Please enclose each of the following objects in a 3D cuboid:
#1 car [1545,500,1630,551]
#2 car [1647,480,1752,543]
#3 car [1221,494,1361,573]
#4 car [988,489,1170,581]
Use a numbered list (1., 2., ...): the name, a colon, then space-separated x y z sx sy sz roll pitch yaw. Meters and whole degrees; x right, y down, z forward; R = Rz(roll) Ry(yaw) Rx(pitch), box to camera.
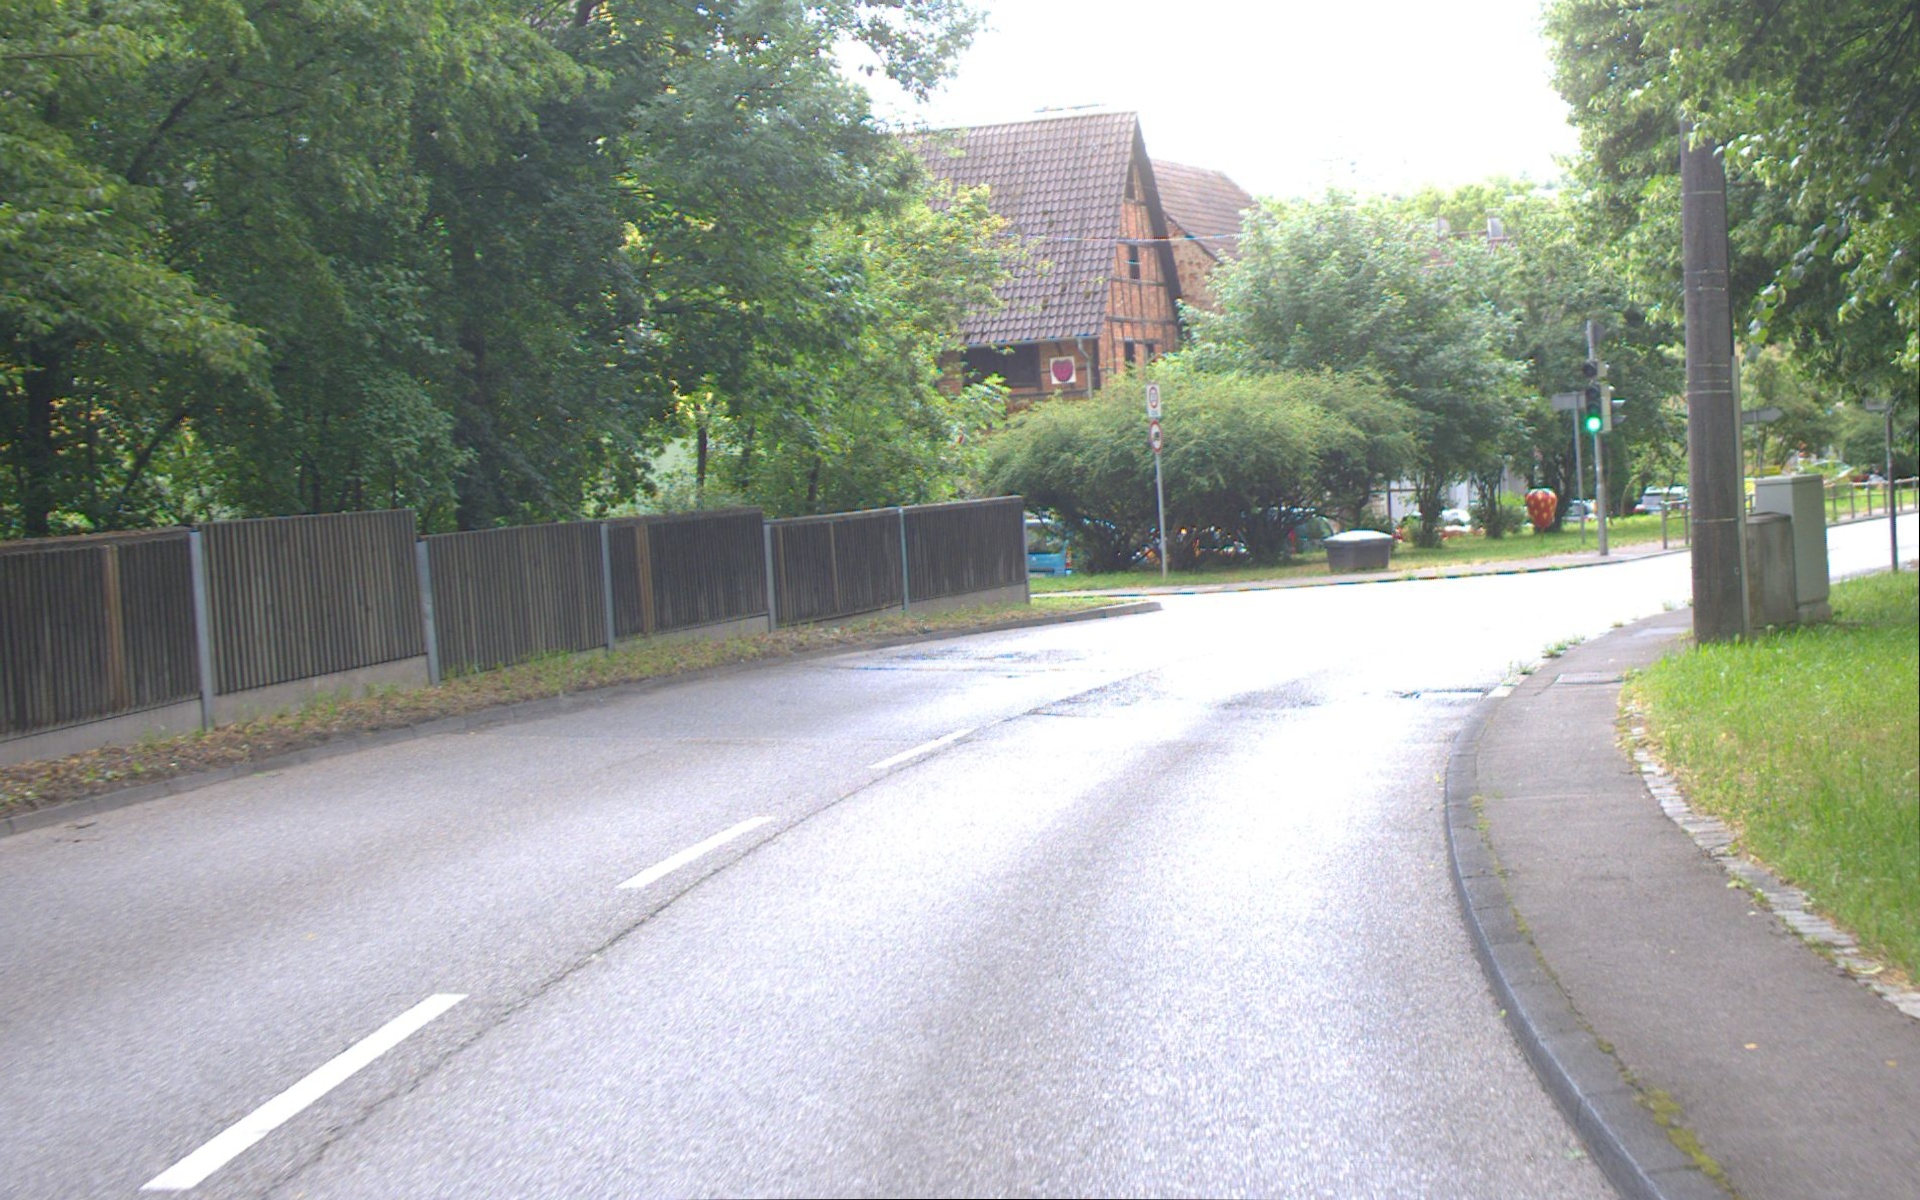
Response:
1. car: 18.186 -2.163 99.558 1.555 1.273 2.550 -4 1 30
2. car: 23.004 -2.754 106.831 1.924 1.689 3.994 -4 1 30
3. car: 7.825 -1.584 81.043 1.814 1.612 3.995 -4 1 27
4. car: 2.503 -1.356 71.040 1.996 1.612 4.442 -4 1 27
